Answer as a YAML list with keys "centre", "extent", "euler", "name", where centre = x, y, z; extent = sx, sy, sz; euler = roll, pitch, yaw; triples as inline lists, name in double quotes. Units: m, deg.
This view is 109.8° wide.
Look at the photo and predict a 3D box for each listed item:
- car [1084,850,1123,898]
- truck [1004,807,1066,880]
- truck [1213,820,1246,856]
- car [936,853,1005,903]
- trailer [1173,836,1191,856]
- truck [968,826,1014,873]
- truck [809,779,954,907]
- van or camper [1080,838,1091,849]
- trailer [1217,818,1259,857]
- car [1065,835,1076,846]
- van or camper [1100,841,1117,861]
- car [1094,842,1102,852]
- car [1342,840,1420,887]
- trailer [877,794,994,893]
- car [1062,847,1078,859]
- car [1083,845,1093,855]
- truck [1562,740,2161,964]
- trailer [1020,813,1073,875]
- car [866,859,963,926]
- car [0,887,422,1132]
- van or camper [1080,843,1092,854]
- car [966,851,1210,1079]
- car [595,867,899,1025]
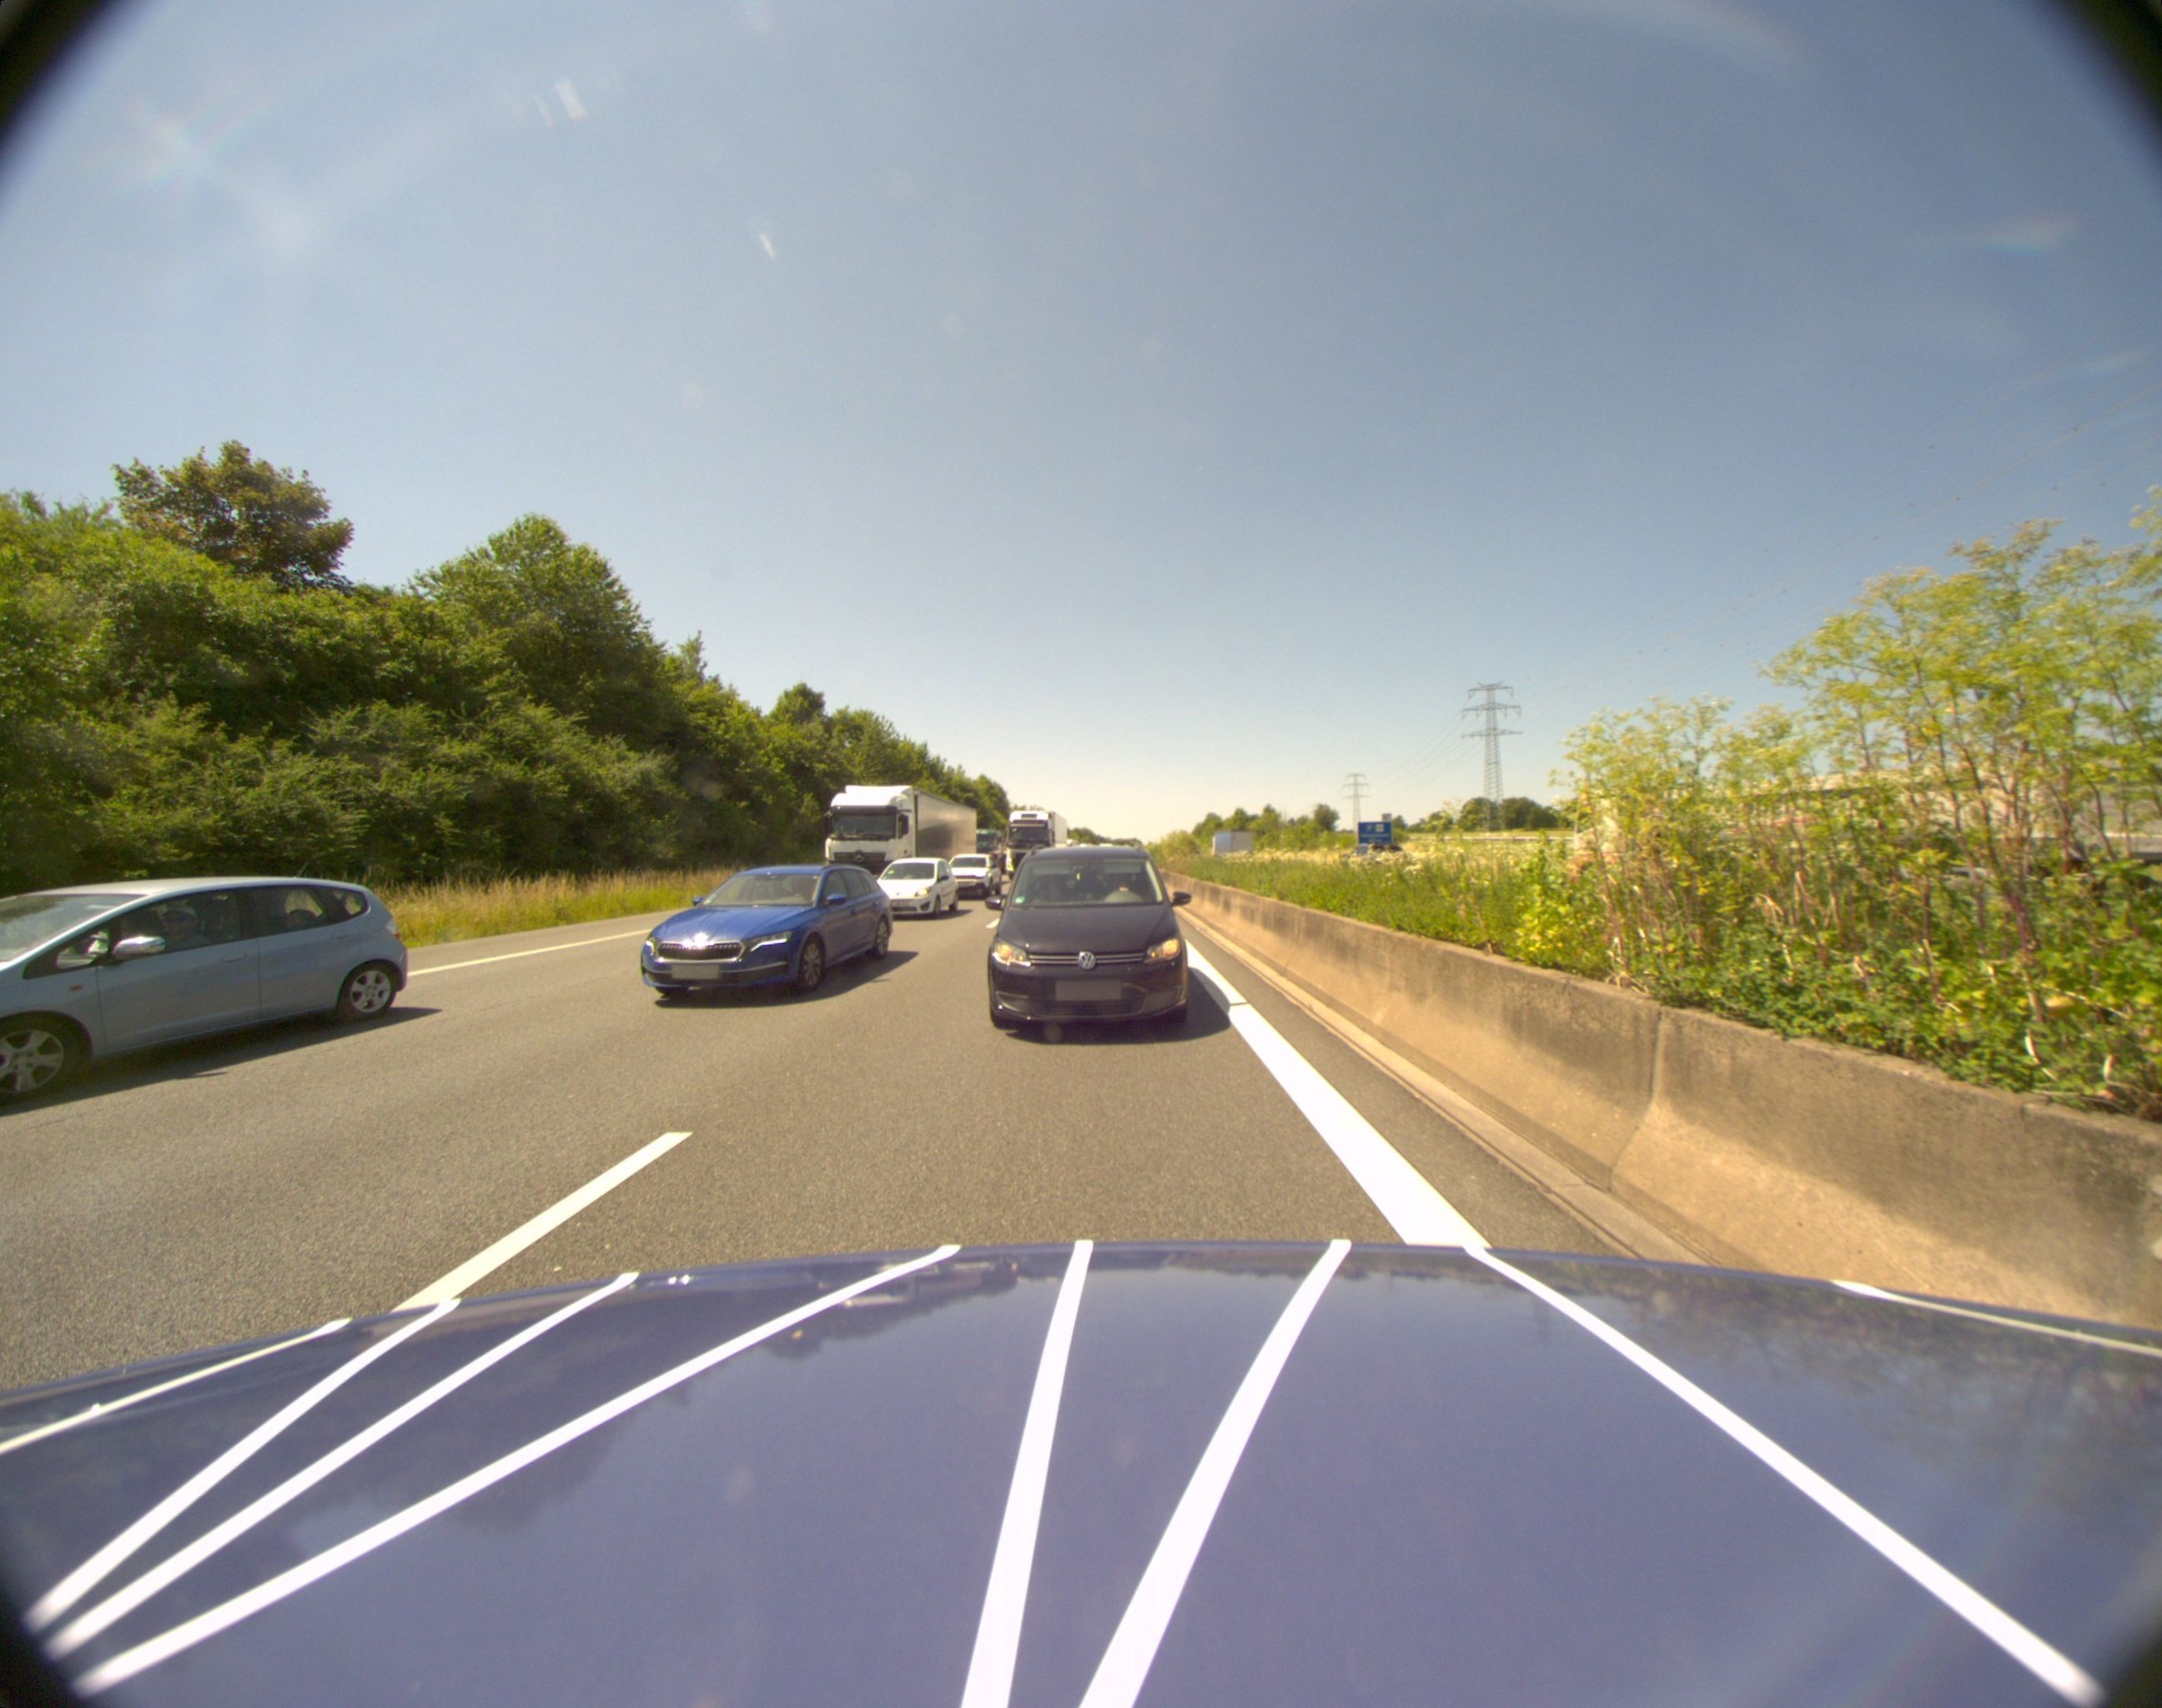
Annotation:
- centre: [0.897, 0.725, 29.106]
  extent: [1.357, 1.630, 2.994]
  euler: [-3, 1, 3]
  name: "car"
- centre: [-2.629, -0.614, 46.222]
  extent: [2.750, 3.972, 8.361]
  euler: [-2, 1, 3]
  name: "truck"
- centre: [18.453, -1.944, 94.688]
  extent: [3.019, 4.203, 6.685]
  euler: [-2, 1, 2]
  name: "truck"
- centre: [-3.809, 0.791, 26.863]
  extent: [1.748, 1.549, 3.884]
  euler: [0, 1, 2]
  name: "car"
- centre: [23.076, -1.921, 174.653]
  extent: [2.828, 4.183, 10.684]
  euler: [-3, 1, 2]
  name: "trailer"
- centre: [-6.328, -0.350, 54.160]
  extent: [2.299, 3.128, 5.675]
  euler: [-2, 1, 3]
  name: "truck"
- centre: [-7.293, -0.414, 29.285]
  extent: [2.879, 4.133, 8.475]
  euler: [-2, 1, 3]
  name: "truck"
- centre: [1.139, -2.682, 191.247]
  extent: [2.745, 2.680, 5.363]
  euler: [-2, 1, 2]
  name: "van or camper"
- centre: [18.230, -1.860, 88.948]
  extent: [3.019, 4.203, 10.980]
  euler: [-2, 1, 2]
  name: "trailer"
- centre: [-2.051, -2.554, 146.927]
  extent: [1.998, 2.002, 4.000]
  euler: [-2, 1, 2]
  name: "car"
- centre: [3.424, -0.383, 94.948]
  extent: [1.956, 2.368, 4.037]
  euler: [-3, 1, 3]
  name: "van or camper"
- centre: [4.197, -1.749, 188.776]
  extent: [1.998, 2.302, 4.229]
  euler: [-2, 1, 2]
  name: "car"
- centre: [12.046, 0.342, 30.751]
  extent: [1.609, 1.777, 4.026]
  euler: [-1, 1, 1]
  name: "car"
- centre: [-6.849, -0.536, 38.169]
  extent: [2.879, 4.133, 12.075]
  euler: [-2, 1, 3]
  name: "trailer"
- centre: [-1.361, -0.120, 94.601]
  extent: [1.650, 1.336, 3.381]
  euler: [-2, 1, 3]
  name: "car"
- centre: [1.221, -0.668, 133.049]
  extent: [1.652, 1.636, 4.000]
  euler: [-2, 1, 3]
  name: "car"
- centre: [15.749, -0.082, 17.102]
  extent: [2.771, 3.269, 11.820]
  euler: [-1, 1, 2]
  name: "truck"
- centre: [-2.299, -0.696, 53.801]
  extent: [2.776, 3.951, 9.156]
  euler: [-2, 1, 3]
  name: "trailer"
- centre: [-4.129, 0.895, 19.413]
  extent: [1.609, 1.426, 3.809]
  euler: [0, 1, 0]
  name: "car"
- centre: [-7.987, 1.107, 6.238]
  extent: [1.666, 1.453, 3.922]
  euler: [0, 1, 1]
  name: "car"
- centre: [1.033, -1.114, 149.272]
  extent: [2.189, 2.018, 4.364]
  euler: [-2, 1, 3]
  name: "van or camper"
- centre: [0.140, 0.812, 8.226]
  extent: [1.758, 1.571, 5.291]
  euler: [-1, 1, 2]
  name: "car"
- centre: [-3.880, 0.954, 9.859]
  extent: [1.780, 1.408, 4.572]
  euler: [0, 1, 2]
  name: "car"
